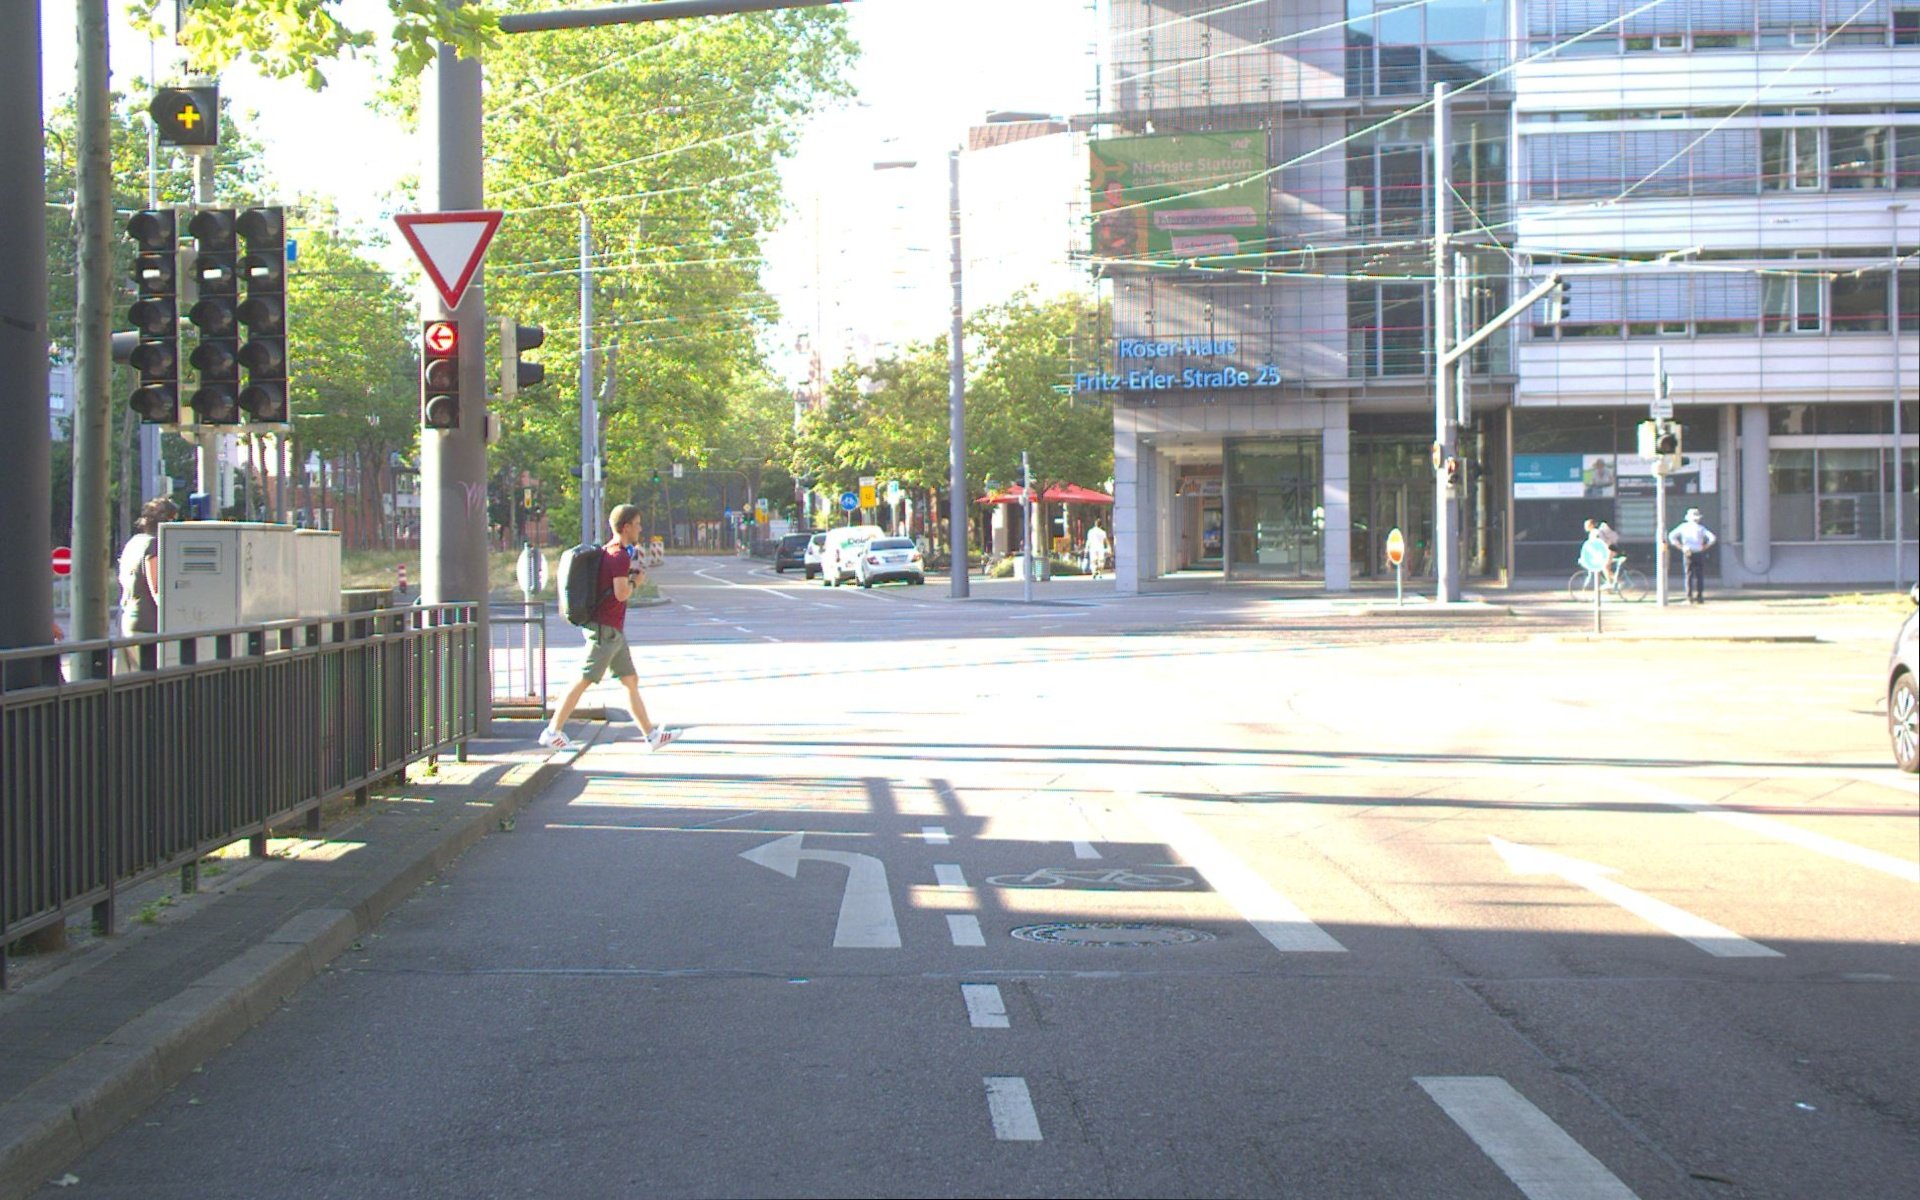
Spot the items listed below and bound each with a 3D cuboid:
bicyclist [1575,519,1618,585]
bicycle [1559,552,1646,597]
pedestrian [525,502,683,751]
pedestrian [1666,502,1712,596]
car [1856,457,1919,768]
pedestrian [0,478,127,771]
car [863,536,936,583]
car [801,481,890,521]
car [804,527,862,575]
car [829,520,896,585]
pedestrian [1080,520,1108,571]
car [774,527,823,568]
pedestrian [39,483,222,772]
[{"bbox_3d":[13.288,-1.006,71.798,0.819,1.362,0.400,-1,1,3],"label":"bicyclist"},{"bbox_3d":[13.411,-0.538,71.799,1.741,0.896,0.409,-1,1,3],"label":"bicycle"},{"bbox_3d":[-2.482,0.179,23.991,1.073,1.709,0.628,0,0,-6],"label":"pedestrian"},{"bbox_3d":[13.052,-0.909,61.588,0.720,1.676,0.557,1,1,5],"label":"pedestrian"},{"bbox_3d":[7.107,0.118,20.434,1.993,1.959,5.138,1,1,-2],"label":"car"},{"bbox_3d":[-6.098,0.155,22.594,1.145,1.887,0.833,0,0,-9],"label":"pedestrian"},{"bbox_3d":[-1.807,-1.213,101.271,1.993,1.327,4.001,-1,1,-3],"label":"car"},{"bbox_3d":[-5.256,-4.569,158.338,3.763,1.744,1.781,1,0,12],"label":"car"},{"bbox_3d":[-4.575,-1.765,123.477,1.993,1.656,4.001,-1,1,-3],"label":"car"},{"bbox_3d":[-3.092,-1.507,107.895,1.993,1.985,4.001,-1,1,-3],"label":"car"},{"bbox_3d":[3.896,-1.576,100.027,0.739,1.460,0.537,-1,1,-4],"label":"pedestrian"},{"bbox_3d":[-6.821,-2.229,145.015,1.993,1.656,4.001,-1,1,-3],"label":"car"},{"bbox_3d":[-5.267,0.172,21.875,1.071,1.800,0.758,0,0,-9],"label":"pedestrian"}]
